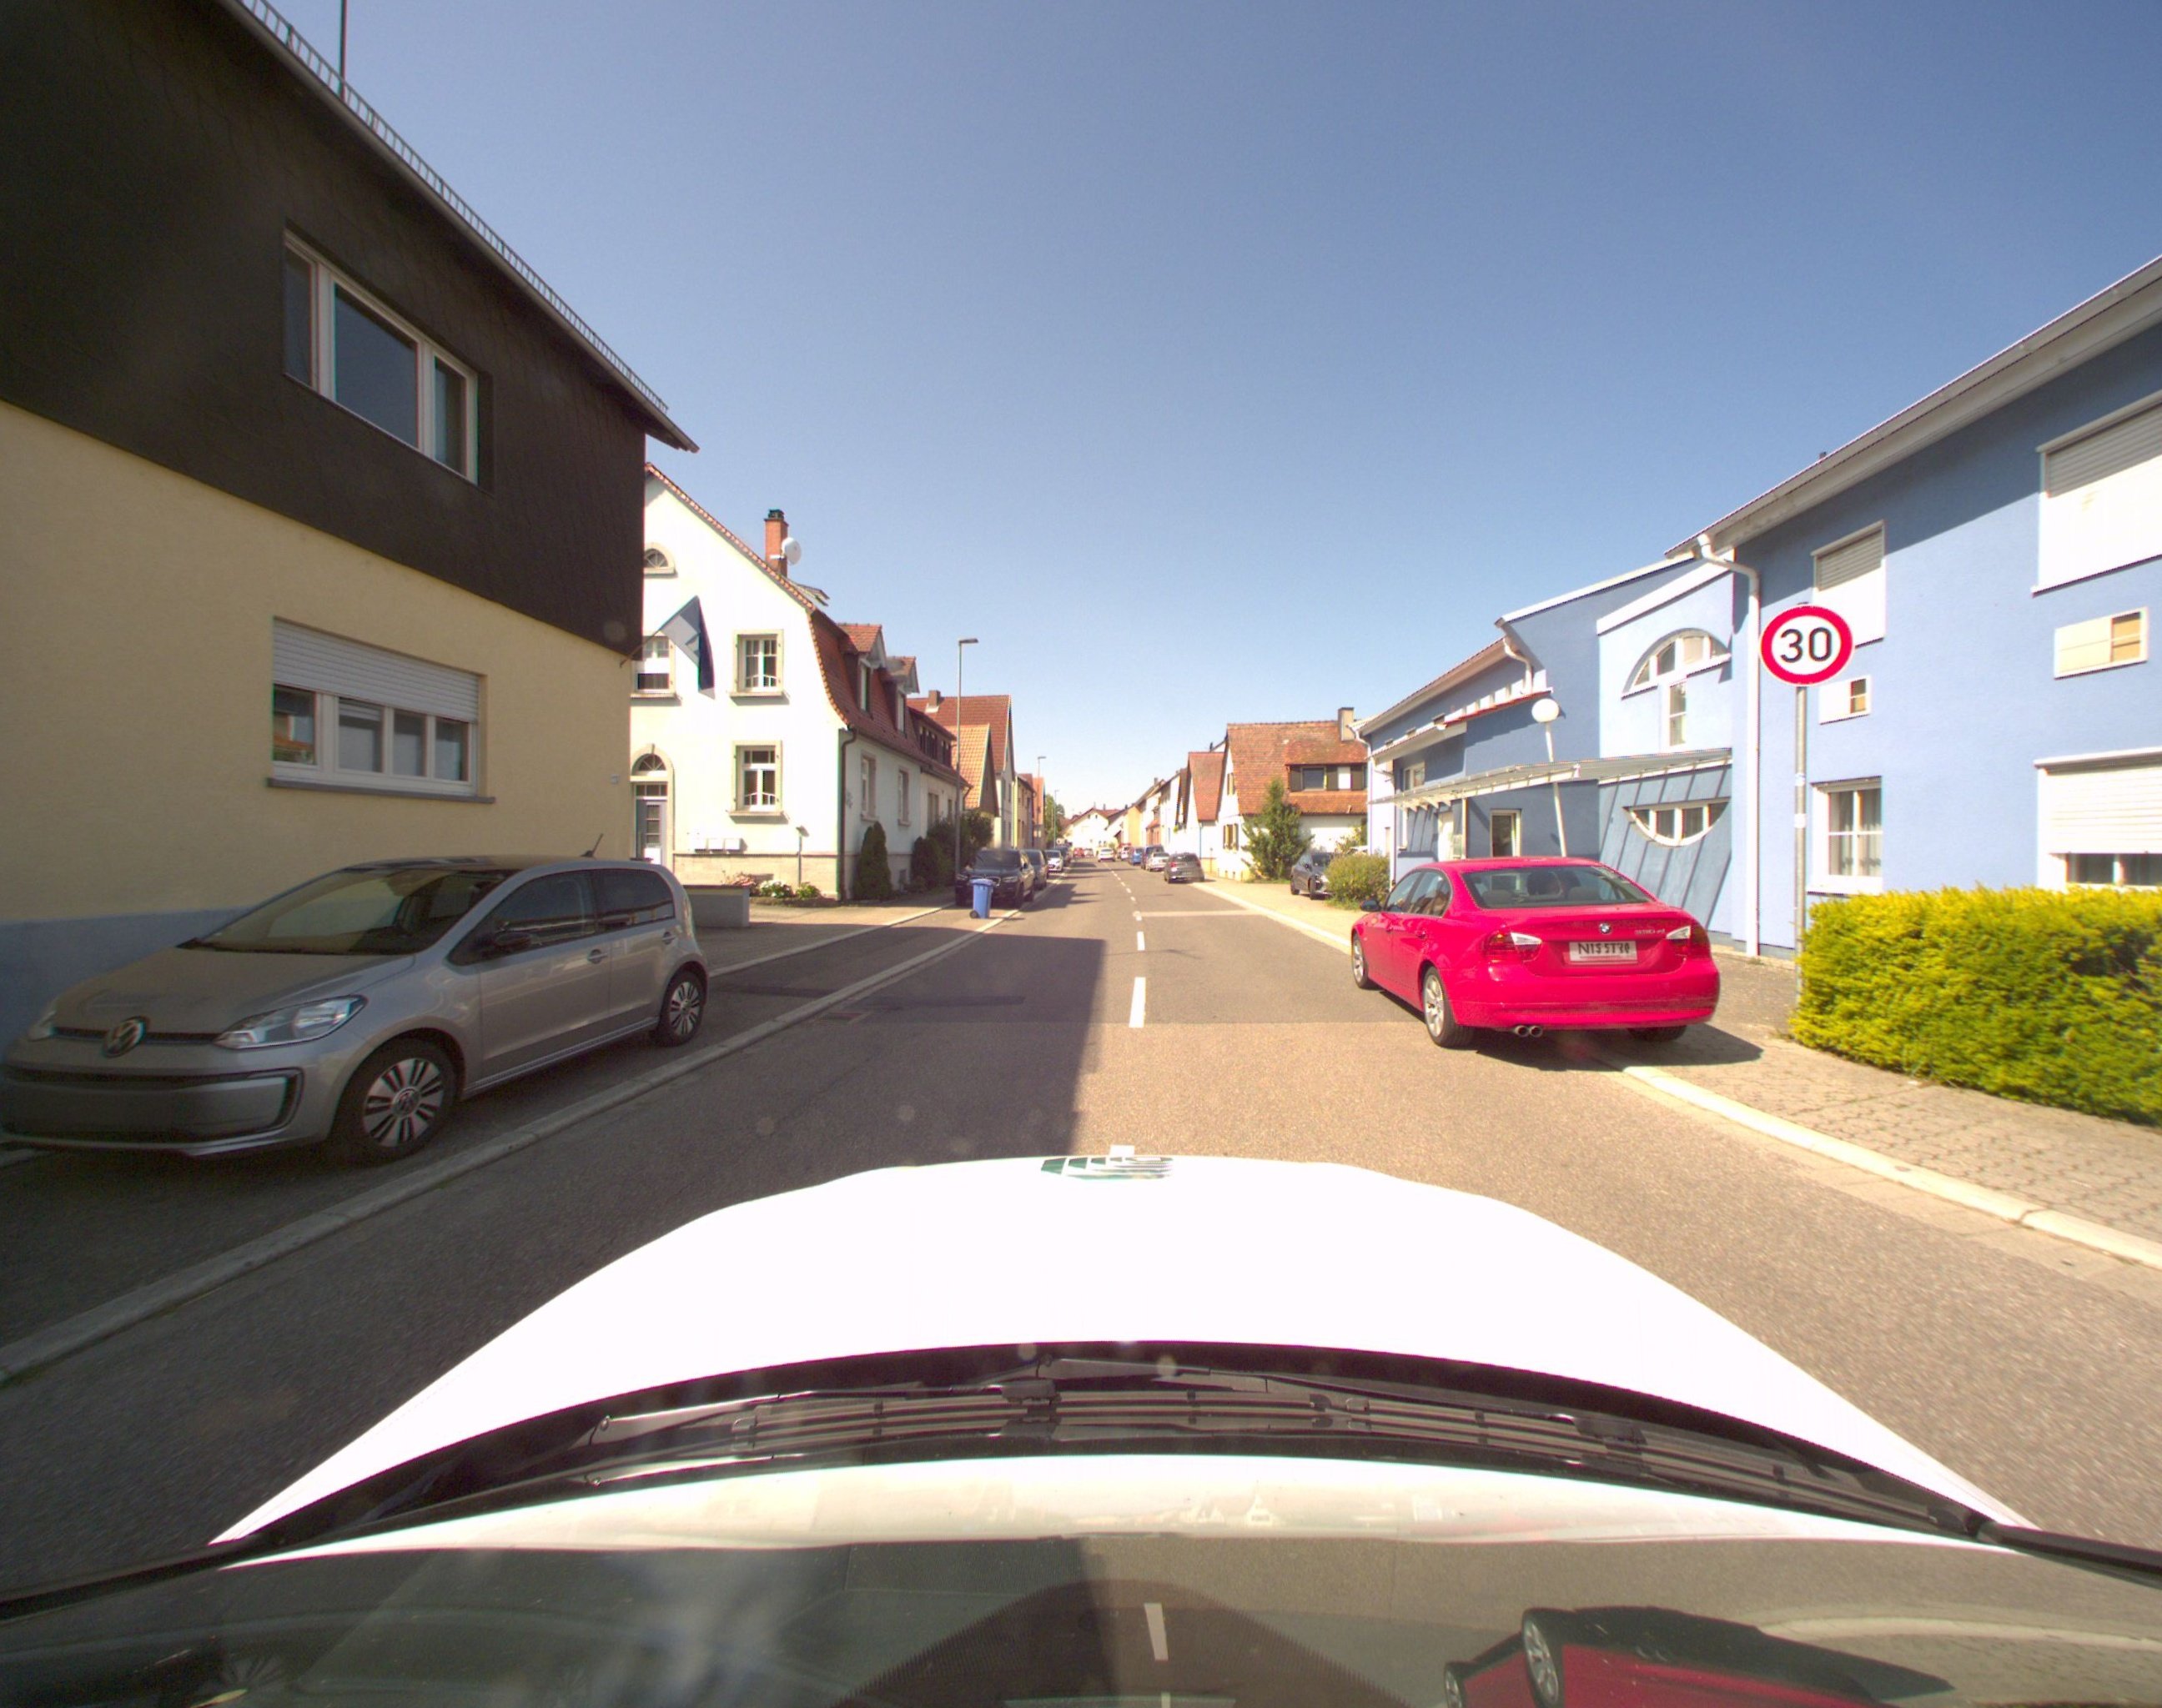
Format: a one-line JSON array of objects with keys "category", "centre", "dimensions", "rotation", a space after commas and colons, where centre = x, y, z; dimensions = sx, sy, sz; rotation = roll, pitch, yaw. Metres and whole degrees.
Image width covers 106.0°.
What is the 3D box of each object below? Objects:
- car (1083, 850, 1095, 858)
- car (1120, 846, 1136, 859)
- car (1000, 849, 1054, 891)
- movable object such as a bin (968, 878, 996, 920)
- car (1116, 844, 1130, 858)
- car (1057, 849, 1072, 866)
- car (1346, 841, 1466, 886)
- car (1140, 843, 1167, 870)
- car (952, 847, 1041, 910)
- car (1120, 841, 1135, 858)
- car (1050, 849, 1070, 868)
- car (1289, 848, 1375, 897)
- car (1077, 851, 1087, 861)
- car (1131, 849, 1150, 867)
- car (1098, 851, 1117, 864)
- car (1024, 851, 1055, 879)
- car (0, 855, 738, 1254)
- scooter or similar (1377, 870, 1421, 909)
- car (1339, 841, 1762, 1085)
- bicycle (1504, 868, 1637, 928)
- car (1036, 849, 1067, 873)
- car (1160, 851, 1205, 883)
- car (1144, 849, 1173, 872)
[{"category": "car", "centre": [1.433, 0.035, 142.372], "dimensions": [1.987, 1.288, 3.803], "rotation": [-2, 0, 0]}, {"category": "car", "centre": [5.595, -0.182, 97.915], "dimensions": [1.760, 1.433, 3.451], "rotation": [-2, 0, 1]}, {"category": "car", "centre": [-2.224, 0.624, 34.628], "dimensions": [1.866, 1.636, 4.665], "rotation": [0, 0, 1]}, {"category": "movable object such as a bin", "centre": [-2.377, 1.072, 19.562], "dimensions": [0.594, 0.982, 0.531], "rotation": [0, 0, 2]}, {"category": "car", "centre": [4.581, -0.332, 89.553], "dimensions": [1.416, 1.515, 3.303], "rotation": [0, 0, 0]}, {"category": "car", "centre": [-1.752, 0.350, 85.636], "dimensions": [1.522, 1.713, 3.625], "rotation": [0, 0, 0]}, {"category": "car", "centre": [13.045, 0.371, 32.866], "dimensions": [4.153, 1.657, 1.815], "rotation": [-2, 0, 6]}, {"category": "car", "centre": [5.385, 0.176, 60.722], "dimensions": [1.644, 1.910, 3.625], "rotation": [0, 0, 0]}, {"category": "car", "centre": [-2.407, 0.665, 24.471], "dimensions": [1.912, 1.668, 4.669], "rotation": [1, 0, 3]}, {"category": "car", "centre": [5.812, -0.533, 102.704], "dimensions": [1.760, 2.004, 3.451], "rotation": [-2, 0, 1]}, {"category": "car", "centre": [-1.779, 0.392, 69.493], "dimensions": [1.614, 1.577, 3.961], "rotation": [0, 0, 0]}, {"category": "car", "centre": [7.778, 0.538, 25.619], "dimensions": [1.682, 1.420, 4.150], "rotation": [-1, 0, 4]}, {"category": "car", "centre": [0.139, 0.249, 123.739], "dimensions": [1.596, 1.489, 3.625], "rotation": [0, 0, 0]}, {"category": "car", "centre": [5.245, 0.323, 71.983], "dimensions": [1.416, 1.515, 3.303], "rotation": [0, 0, 0]}, {"category": "car", "centre": [2.842, 0.346, 88.160], "dimensions": [1.987, 1.288, 4.000], "rotation": [-2, 0, 0]}, {"category": "car", "centre": [-2.325, 0.607, 46.038], "dimensions": [1.547, 1.544, 2.989], "rotation": [0, 0, 1]}, {"category": "car", "centre": [-3.967, 0.783, 5.130], "dimensions": [1.632, 1.501, 3.788], "rotation": [2, 0, 6]}, {"category": "scooter or similar", "centre": [7.143, 0.791, 18.310], "dimensions": [0.724, 0.814, 0.829], "rotation": [-2, 0, 8]}, {"category": "car", "centre": [3.647, 0.681, 7.348], "dimensions": [1.723, 1.494, 4.364], "rotation": [-3, 0, 7]}, {"category": "bicycle", "centre": [8.785, 0.789, 14.679], "dimensions": [1.944, 0.981, 0.658], "rotation": [-2, 0, 6]}, {"category": "car", "centre": [-1.979, 0.440, 55.847], "dimensions": [1.799, 1.547, 4.405], "rotation": [0, 0, 1]}, {"category": "car", "centre": [4.865, 0.585, 39.344], "dimensions": [1.699, 1.433, 3.889], "rotation": [0, 0, 0]}, {"category": "car", "centre": [5.286, 0.430, 55.943], "dimensions": [1.699, 1.496, 3.452], "rotation": [0, 0, 0]}]
